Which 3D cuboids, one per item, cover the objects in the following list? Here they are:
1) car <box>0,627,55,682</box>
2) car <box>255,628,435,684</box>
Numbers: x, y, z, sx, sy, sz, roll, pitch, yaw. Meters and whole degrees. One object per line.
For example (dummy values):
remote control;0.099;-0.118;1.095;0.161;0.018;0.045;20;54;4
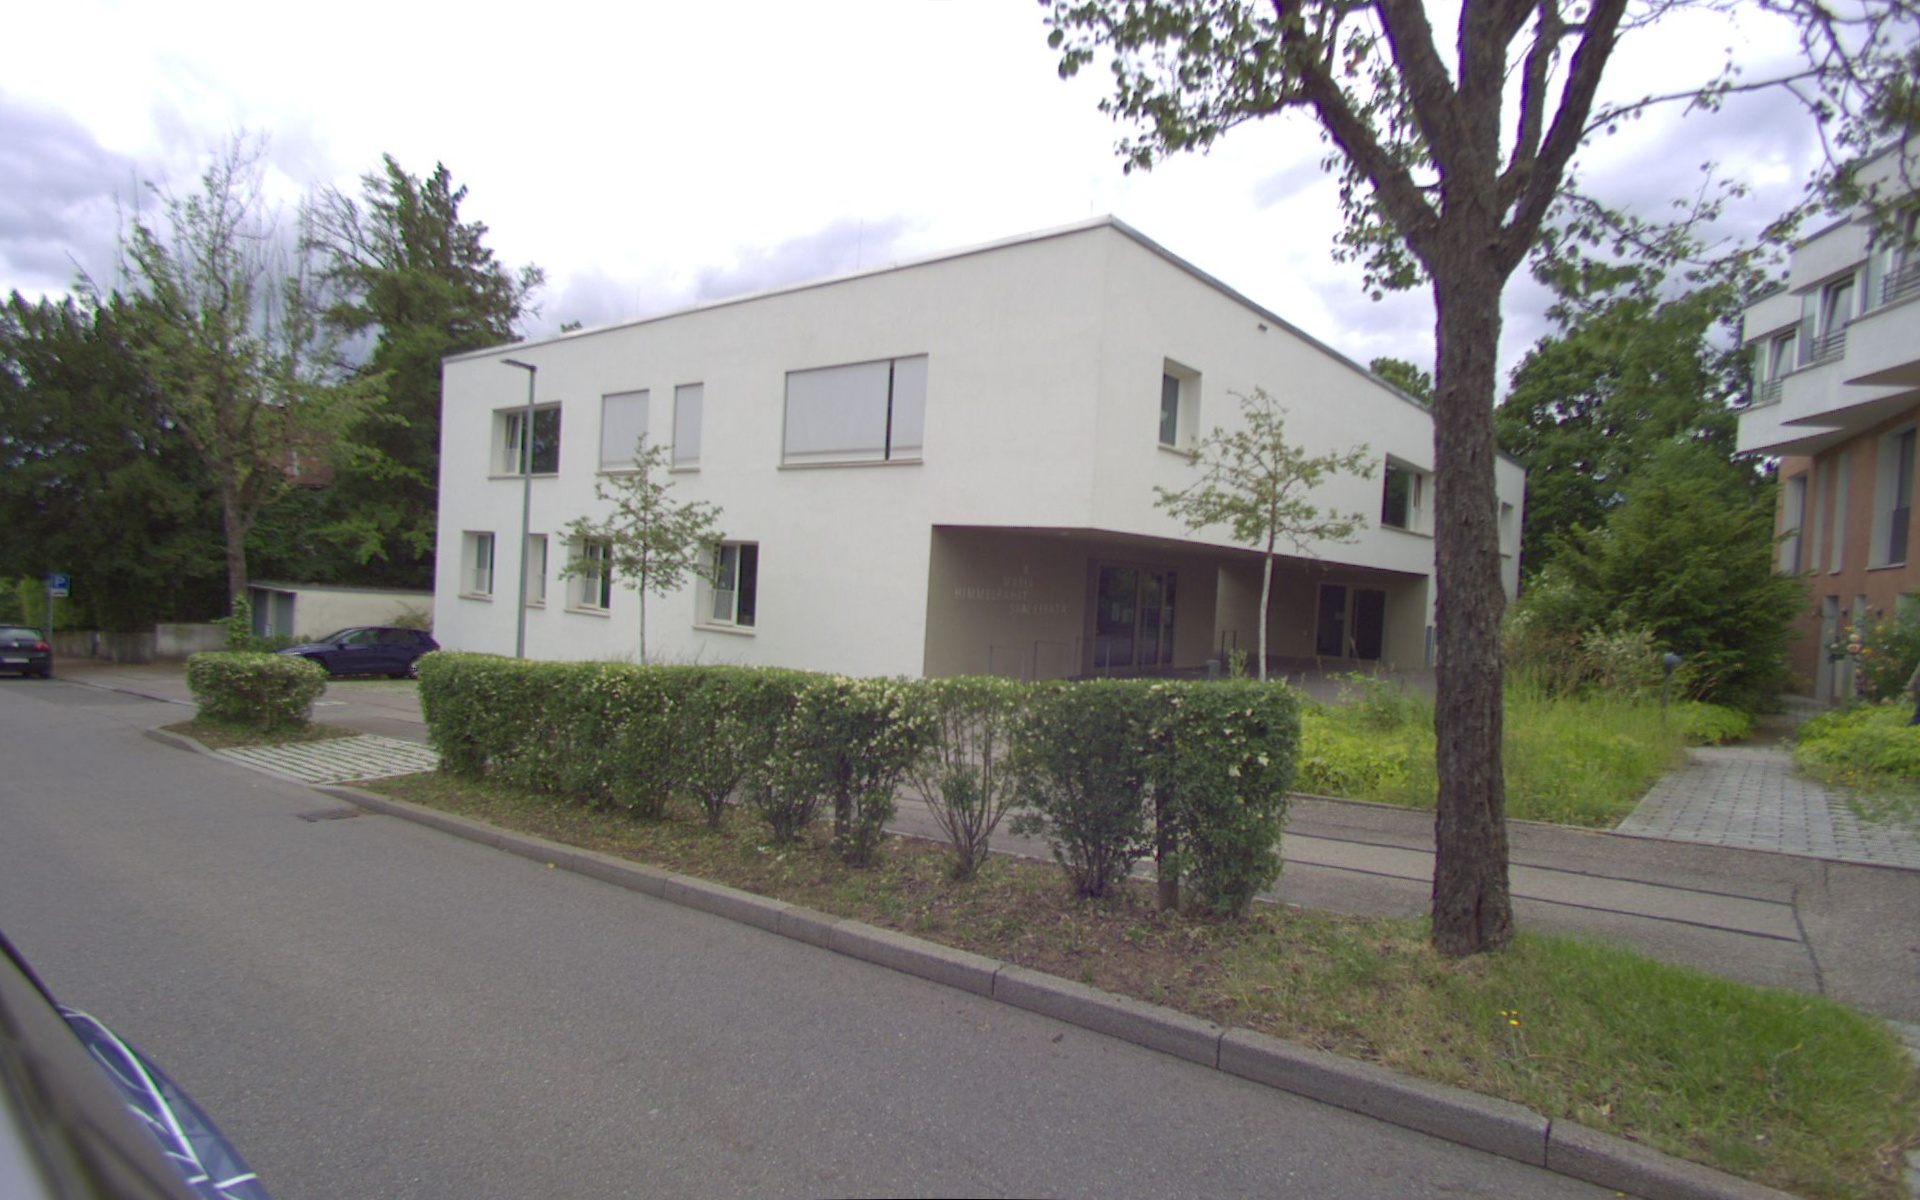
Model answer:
car;-27.308;1.503;28.586;4.677;1.481;1.832;-1;-3;39
car;-16.367;1.440;27.057;1.740;1.364;3.756;-1;-2;39
